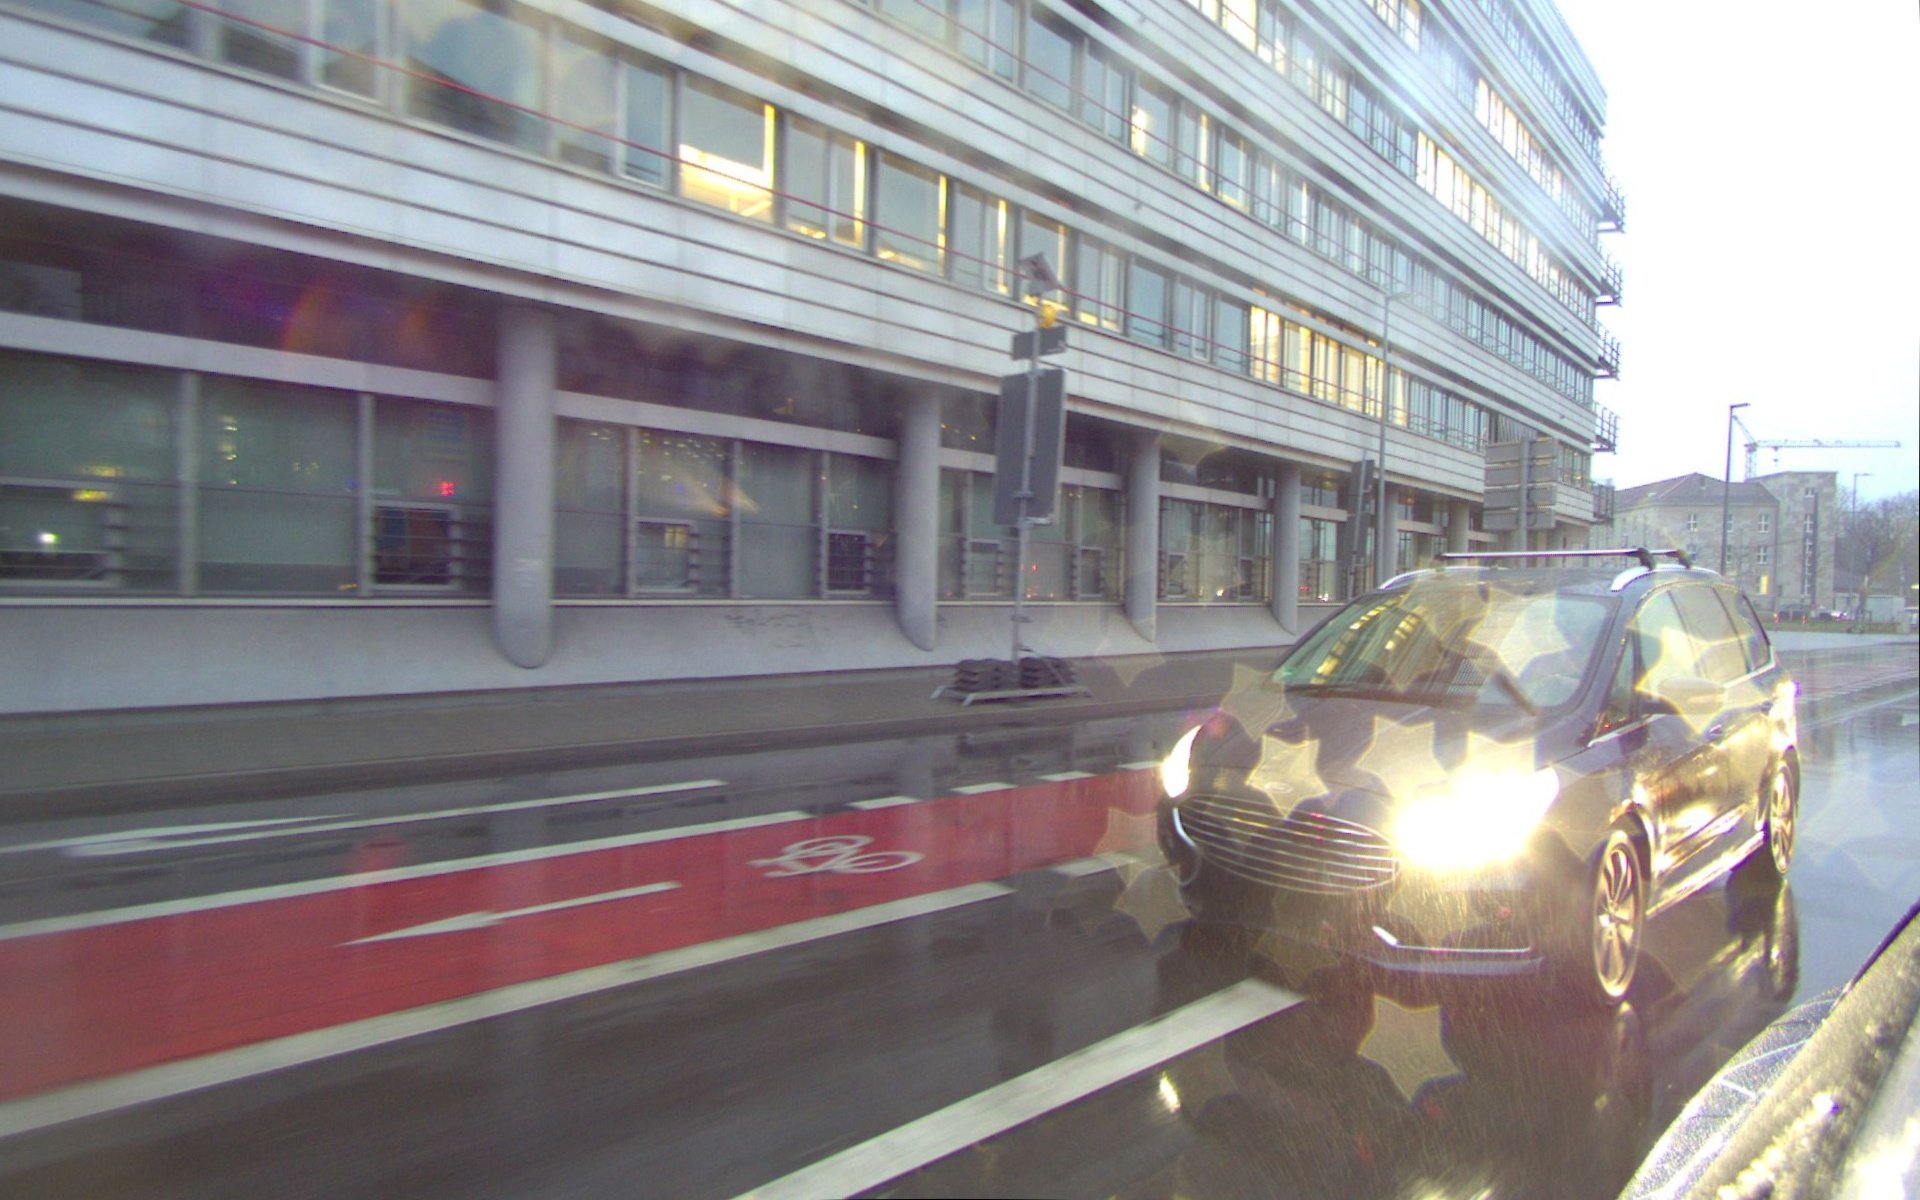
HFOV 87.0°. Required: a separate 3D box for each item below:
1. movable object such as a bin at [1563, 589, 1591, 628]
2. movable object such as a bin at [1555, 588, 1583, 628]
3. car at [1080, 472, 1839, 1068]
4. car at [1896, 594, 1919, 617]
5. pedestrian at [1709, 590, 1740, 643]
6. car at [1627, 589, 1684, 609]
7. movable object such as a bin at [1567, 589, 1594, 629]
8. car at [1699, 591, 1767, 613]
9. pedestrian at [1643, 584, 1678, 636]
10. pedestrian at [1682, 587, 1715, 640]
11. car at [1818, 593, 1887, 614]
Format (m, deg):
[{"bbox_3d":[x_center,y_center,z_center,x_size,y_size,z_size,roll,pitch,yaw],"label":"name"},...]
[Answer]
[{"bbox_3d":[23.122,0.320,37.929,0.827,1.446,0.665,0,1,-44],"label":"movable object such as a bin"},{"bbox_3d":[22.465,0.302,37.342,0.827,1.446,0.665,0,1,-44],"label":"movable object such as a bin"},{"bbox_3d":[2.903,0.518,5.317,4.587,1.834,1.887,0,0,-40],"label":"car"},{"bbox_3d":[74.080,0.445,76.951,1.744,1.730,3.932,1,1,-27],"label":"car"},{"bbox_3d":[25.179,0.543,33.345,0.870,1.689,0.615,0,3,-44],"label":"pedestrian"},{"bbox_3d":[66.040,-0.107,96.199,1.958,1.693,4.013,1,1,-25],"label":"car"},{"bbox_3d":[23.693,0.333,38.665,0.827,1.495,0.665,0,1,-44],"label":"movable object such as a bin"},{"bbox_3d":[68.513,0.154,89.773,1.958,1.782,4.386,1,1,-25],"label":"car"},{"bbox_3d":[24.314,0.342,35.130,0.953,1.722,0.746,0,4,-44],"label":"pedestrian"},{"bbox_3d":[24.688,0.443,33.827,0.870,1.723,0.650,0,3,-44],"label":"pedestrian"},{"bbox_3d":[71.768,0.259,81.434,1.743,1.556,3.775,1,1,-24],"label":"car"}]
